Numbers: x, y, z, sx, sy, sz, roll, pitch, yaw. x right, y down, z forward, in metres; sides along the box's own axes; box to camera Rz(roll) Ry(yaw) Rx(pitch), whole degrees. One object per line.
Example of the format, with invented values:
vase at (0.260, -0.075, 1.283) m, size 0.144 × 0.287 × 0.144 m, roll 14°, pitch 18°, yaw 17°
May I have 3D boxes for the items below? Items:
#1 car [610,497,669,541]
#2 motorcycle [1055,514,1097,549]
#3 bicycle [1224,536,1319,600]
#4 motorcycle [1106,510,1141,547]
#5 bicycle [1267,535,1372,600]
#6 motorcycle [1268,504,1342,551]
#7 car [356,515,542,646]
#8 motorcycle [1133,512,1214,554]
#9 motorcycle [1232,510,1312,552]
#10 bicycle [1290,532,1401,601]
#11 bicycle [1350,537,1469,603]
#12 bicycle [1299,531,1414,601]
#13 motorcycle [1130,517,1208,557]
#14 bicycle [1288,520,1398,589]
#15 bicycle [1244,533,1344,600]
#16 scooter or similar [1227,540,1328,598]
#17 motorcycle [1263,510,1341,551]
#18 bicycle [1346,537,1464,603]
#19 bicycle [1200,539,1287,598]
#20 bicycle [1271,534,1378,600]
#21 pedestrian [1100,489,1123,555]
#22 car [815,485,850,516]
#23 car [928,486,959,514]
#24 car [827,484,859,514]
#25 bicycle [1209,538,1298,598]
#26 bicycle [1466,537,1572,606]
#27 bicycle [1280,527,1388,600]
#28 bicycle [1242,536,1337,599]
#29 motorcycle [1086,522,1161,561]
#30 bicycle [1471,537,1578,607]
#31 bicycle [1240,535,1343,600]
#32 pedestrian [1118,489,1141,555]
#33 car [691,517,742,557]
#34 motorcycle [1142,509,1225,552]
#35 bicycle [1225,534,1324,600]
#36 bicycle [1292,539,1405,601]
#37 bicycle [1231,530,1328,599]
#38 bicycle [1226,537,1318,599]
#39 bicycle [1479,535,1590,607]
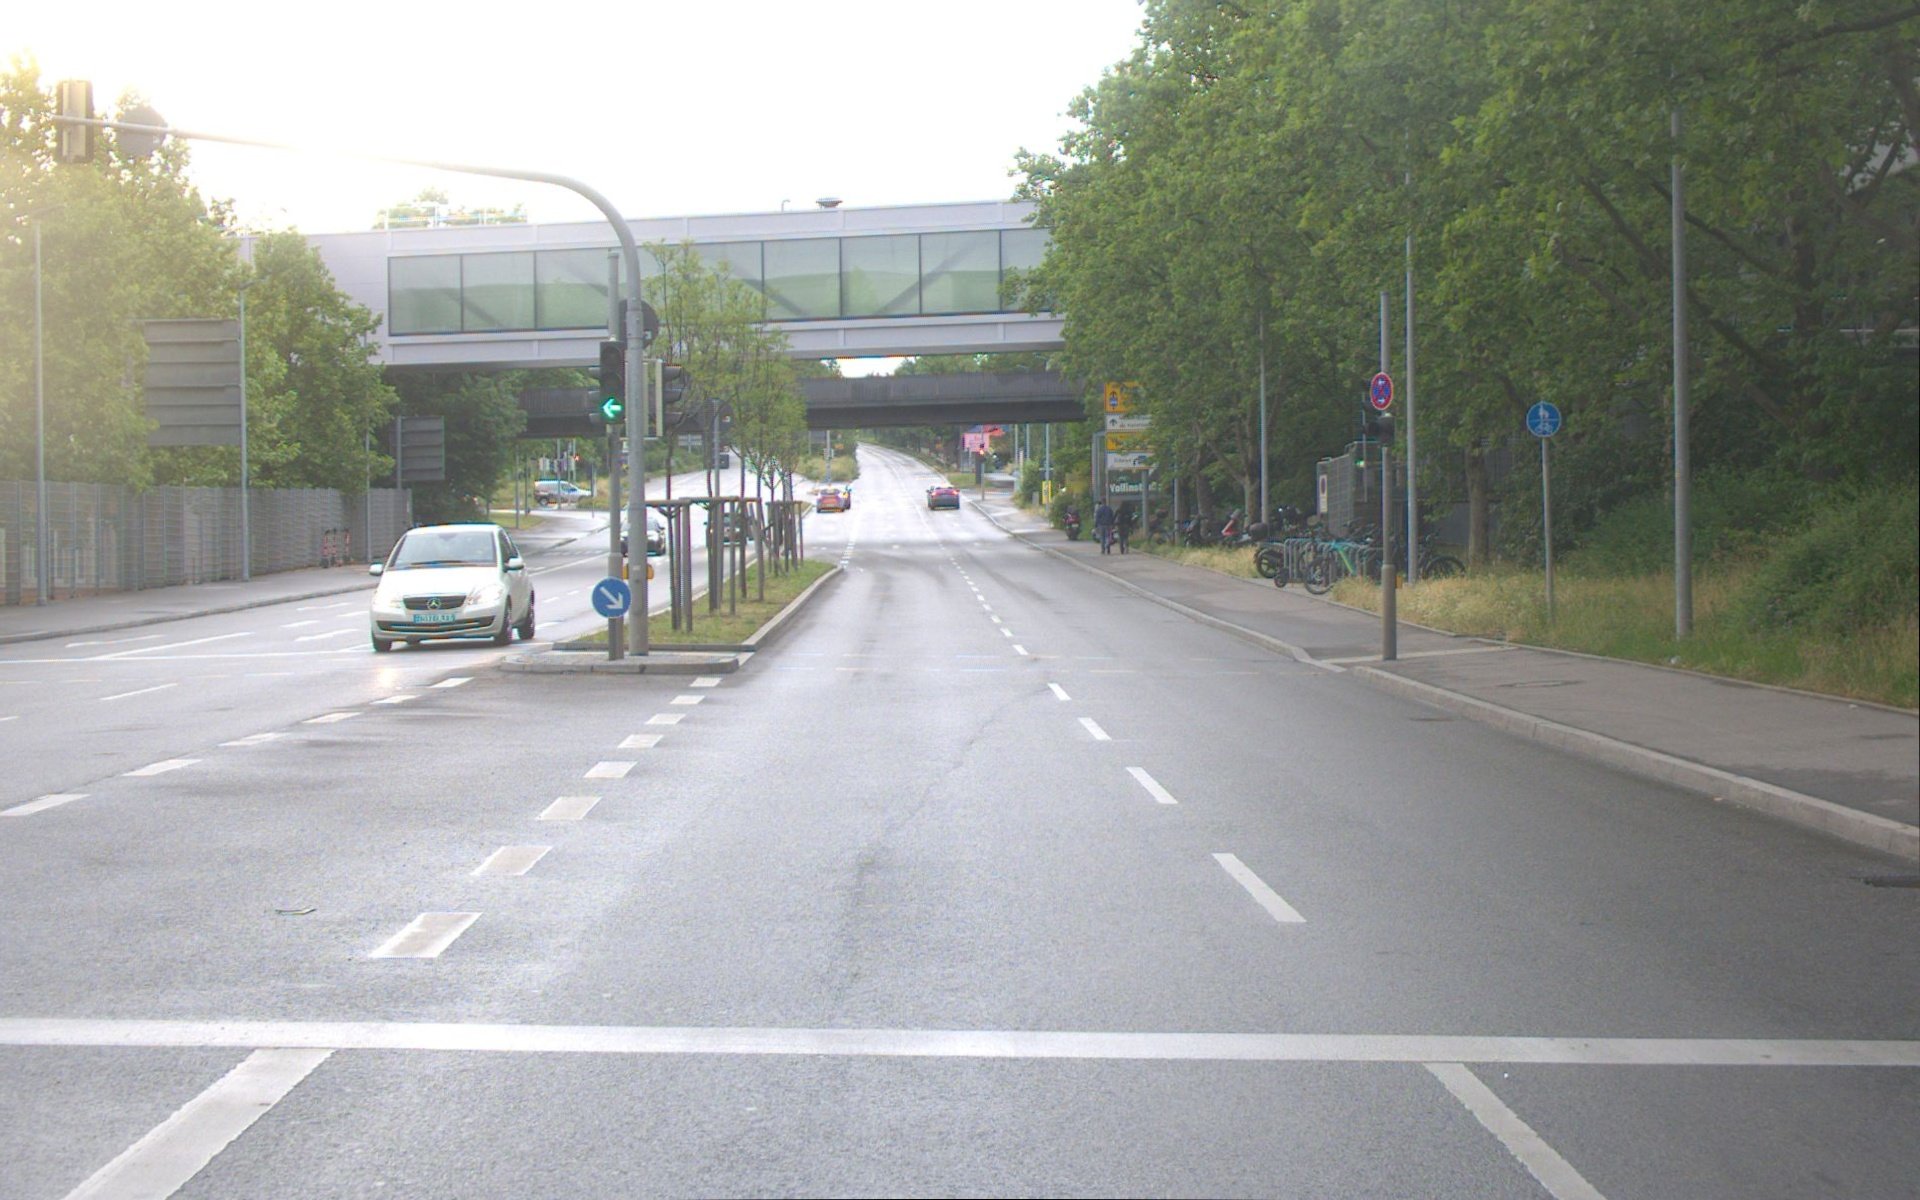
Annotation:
car at (-12.126, -3.057, 130.162) m, size 1.877 × 1.619 × 3.779 m, roll -1°, pitch 1°, yaw 0°
motorcycle at (4.438, -2.617, 131.548) m, size 0.790 × 1.307 × 2.377 m, roll -2°, pitch 1°, yaw -18°
bicycle at (6.810, -0.700, 75.256) m, size 1.990 × 1.324 × 0.576 m, roll 2°, pitch 0°, yaw 1°
motorcycle at (6.008, -2.629, 126.552) m, size 0.790 × 1.307 × 2.377 m, roll -2°, pitch 1°, yaw -9°
bicycle at (7.090, -0.640, 67.923) m, size 1.990 × 1.237 × 0.541 m, roll 2°, pitch 0°, yaw 1°
motorcycle at (11.360, -2.390, 113.150) m, size 2.369 × 1.471 × 0.722 m, roll -1°, pitch 1°, yaw 8°
car at (-6.720, -0.289, 45.541) m, size 1.877 × 1.619 × 3.779 m, roll -1°, pitch 1°, yaw 0°
motorcycle at (6.433, -2.025, 103.668) m, size 2.369 × 1.198 × 0.722 m, roll -1°, pitch 1°, yaw 8°
motorcycle at (9.555, -2.108, 105.199) m, size 2.369 × 1.198 × 0.722 m, roll -1°, pitch 1°, yaw 8°
bicycle at (7.198, -0.622, 64.204) m, size 1.990 × 1.229 × 0.541 m, roll 2°, pitch 0°, yaw 1°
bicycle at (7.838, -0.523, 59.984) m, size 1.990 × 1.091 × 0.541 m, roll 2°, pitch 0°, yaw 1°
bicycle at (7.145, -0.609, 62.015) m, size 1.990 × 1.212 × 0.541 m, roll 2°, pitch 0°, yaw 1°
motorcycle at (6.548, -1.972, 107.667) m, size 2.369 × 1.198 × 0.722 m, roll -1°, pitch 1°, yaw 8°
bicycle at (7.227, -0.855, 64.917) m, size 1.990 × 1.237 × 0.541 m, roll 2°, pitch 0°, yaw 1°
bicycle at (6.913, -0.686, 71.204) m, size 1.990 × 1.324 × 0.576 m, roll 2°, pitch 0°, yaw 1°
scooter or similar at (6.467, -0.626, 70.114) m, size 1.990 × 1.134 × 0.541 m, roll 2°, pitch 0°, yaw 1°
motorcycle at (10.690, -2.178, 107.386) m, size 2.369 × 1.198 × 0.722 m, roll -1°, pitch 1°, yaw 8°
bicycle at (7.835, -0.525, 60.552) m, size 1.990 × 1.091 × 0.541 m, roll 2°, pitch 0°, yaw 1°
bicycle at (6.636, -0.732, 80.506) m, size 1.963 × 1.324 × 0.654 m, roll 2°, pitch 0°, yaw 1°
bicycle at (7.099, -0.637, 66.974) m, size 1.990 × 1.237 × 0.541 m, roll 2°, pitch 0°, yaw 1°
pedestrian at (4.698, -2.426, 106.770) m, size 0.622 × 2.007 × 0.605 m, roll -2°, pitch 1°, yaw 0°
car at (-7.872, -6.167, 212.821) m, size 1.993 × 1.756 × 4.000 m, roll 2°, pitch 0°, yaw 0°
car at (-0.992, -6.076, 209.108) m, size 1.875 × 1.492 × 4.068 m, roll 2°, pitch 0°, yaw 0°
car at (-7.476, -6.438, 219.491) m, size 1.884 × 1.756 × 3.969 m, roll 2°, pitch 0°, yaw 0°
bicycle at (6.724, -0.725, 78.786) m, size 1.963 × 1.324 × 0.654 m, roll 2°, pitch 0°, yaw 1°
bicycle at (11.177, -0.562, 68.715) m, size 1.990 × 1.324 × 0.576 m, roll 2°, pitch 0°, yaw 1°
bicycle at (7.200, -0.698, 66.281) m, size 1.990 × 1.336 × 0.541 m, roll 2°, pitch 0°, yaw 1°
bicycle at (7.142, -0.701, 74.543) m, size 1.990 × 1.324 × 0.576 m, roll 2°, pitch 0°, yaw 1°
motorcycle at (5.315, -1.912, 111.892) m, size 2.369 × 1.198 × 0.722 m, roll -1°, pitch 1°, yaw 8°
bicycle at (11.181, -0.560, 68.099) m, size 1.990 × 1.324 × 0.576 m, roll 2°, pitch 0°, yaw 1°
bicycle at (6.683, -0.655, 69.300) m, size 1.990 × 1.237 × 0.541 m, roll 2°, pitch 0°, yaw 1°
pedestrian at (5.227, -2.419, 106.175) m, size 0.622 × 2.007 × 0.605 m, roll -2°, pitch 1°, yaw 0°
car at (-10.167, -2.637, 143.746) m, size 1.877 × 1.619 × 3.779 m, roll -1°, pitch 1°, yaw 0°
motorcycle at (6.564, -2.030, 101.032) m, size 2.369 × 1.198 × 0.722 m, roll -1°, pitch 1°, yaw 8°
bicycle at (6.584, -0.697, 72.015) m, size 1.990 × 1.324 × 0.576 m, roll 2°, pitch 0°, yaw 1°
bicycle at (7.183, -0.561, 63.622) m, size 1.990 × 1.091 × 0.541 m, roll 2°, pitch 0°, yaw 1°
bicycle at (6.847, -0.757, 73.690) m, size 1.990 × 1.425 × 0.723 m, roll 2°, pitch 0°, yaw 1°
bicycle at (6.943, -0.712, 76.492) m, size 1.960 × 1.324 × 0.576 m, roll 2°, pitch 0°, yaw 1°
bicycle at (11.022, -0.558, 65.958) m, size 1.990 × 1.324 × 0.576 m, roll 2°, pitch 0°, yaw 1°
